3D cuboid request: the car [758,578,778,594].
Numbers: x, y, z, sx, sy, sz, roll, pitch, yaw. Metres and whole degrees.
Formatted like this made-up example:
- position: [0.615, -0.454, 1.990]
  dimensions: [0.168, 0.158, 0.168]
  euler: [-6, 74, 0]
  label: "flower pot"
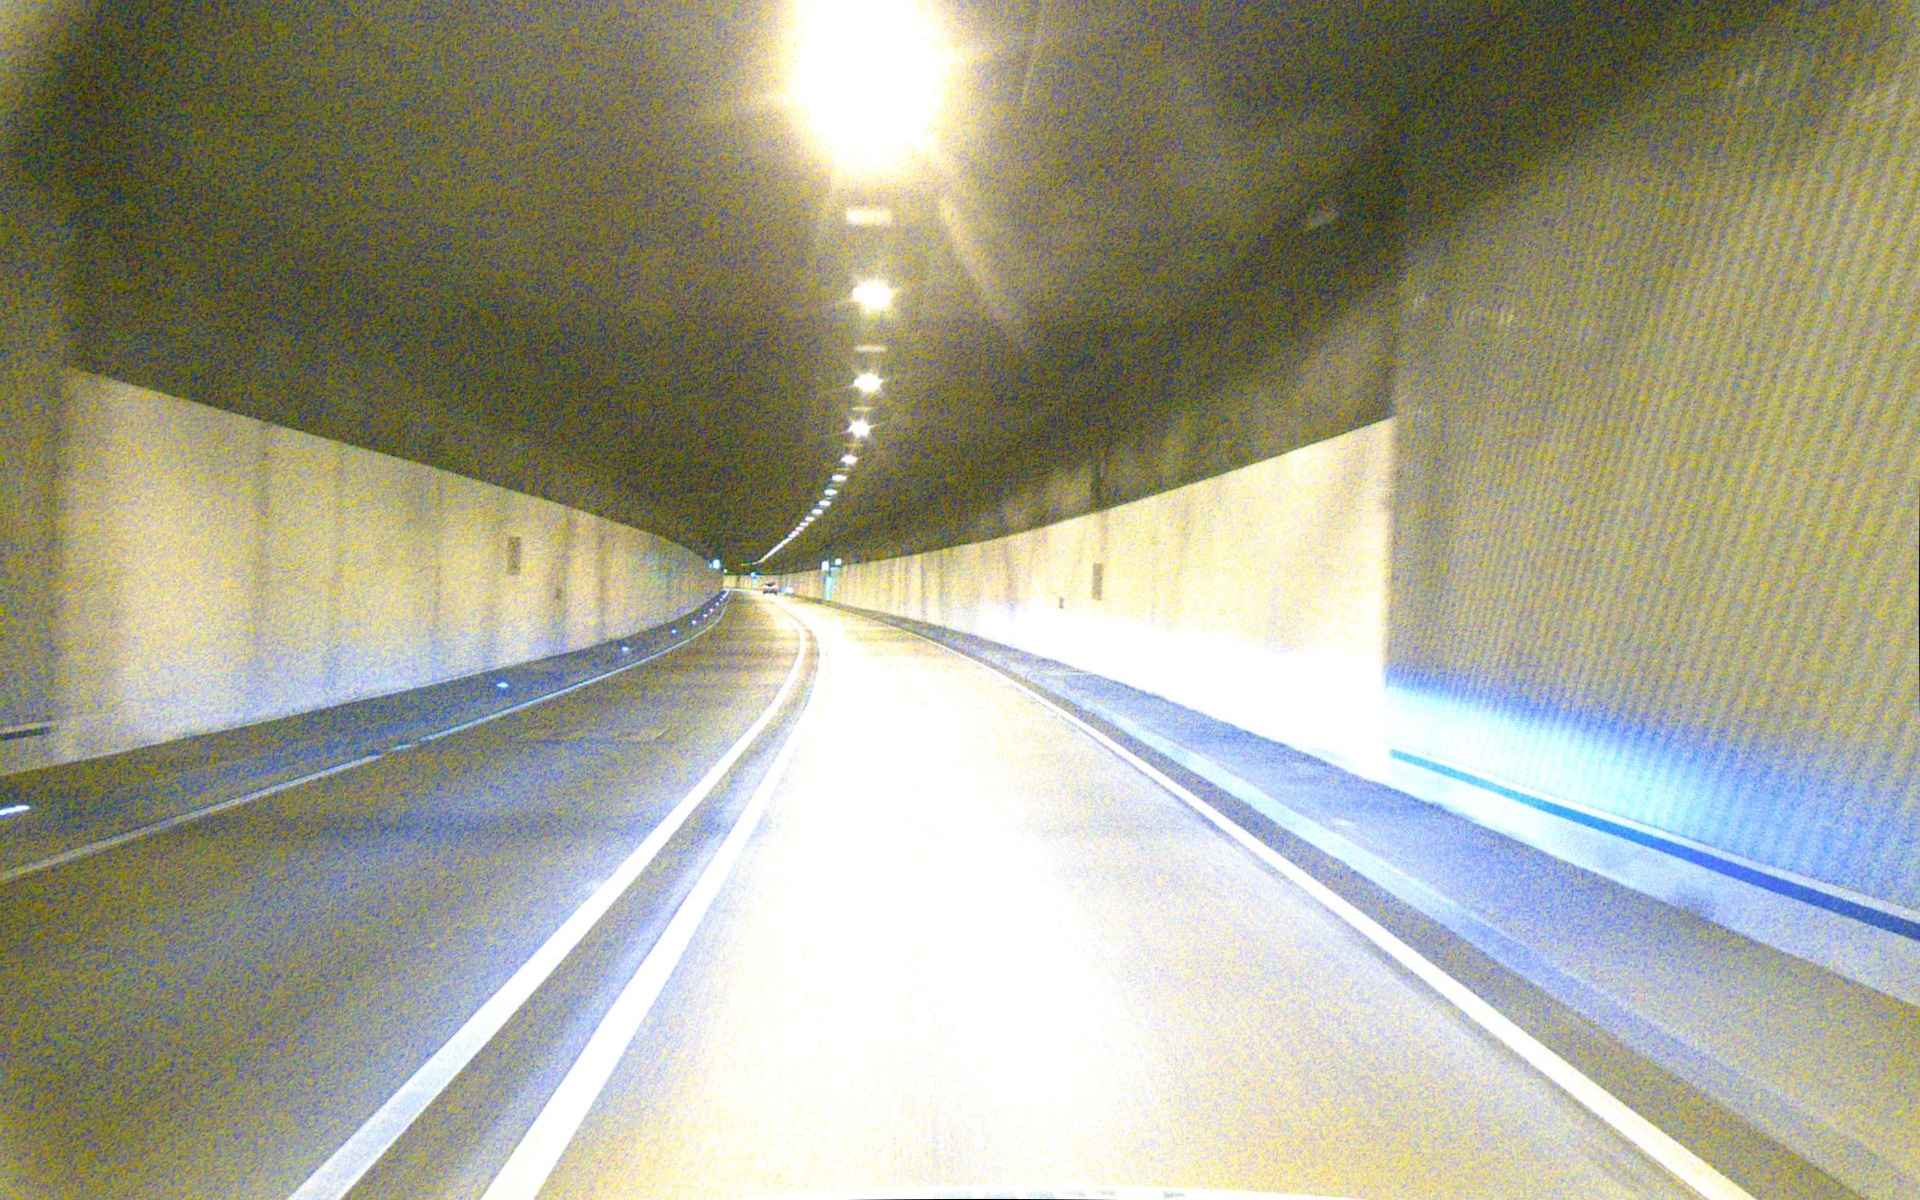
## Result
- position: [-24.724, -1.794, 213.135]
  dimensions: [1.934, 1.972, 4.595]
  euler: [3, -1, -14]
  label: "car"
